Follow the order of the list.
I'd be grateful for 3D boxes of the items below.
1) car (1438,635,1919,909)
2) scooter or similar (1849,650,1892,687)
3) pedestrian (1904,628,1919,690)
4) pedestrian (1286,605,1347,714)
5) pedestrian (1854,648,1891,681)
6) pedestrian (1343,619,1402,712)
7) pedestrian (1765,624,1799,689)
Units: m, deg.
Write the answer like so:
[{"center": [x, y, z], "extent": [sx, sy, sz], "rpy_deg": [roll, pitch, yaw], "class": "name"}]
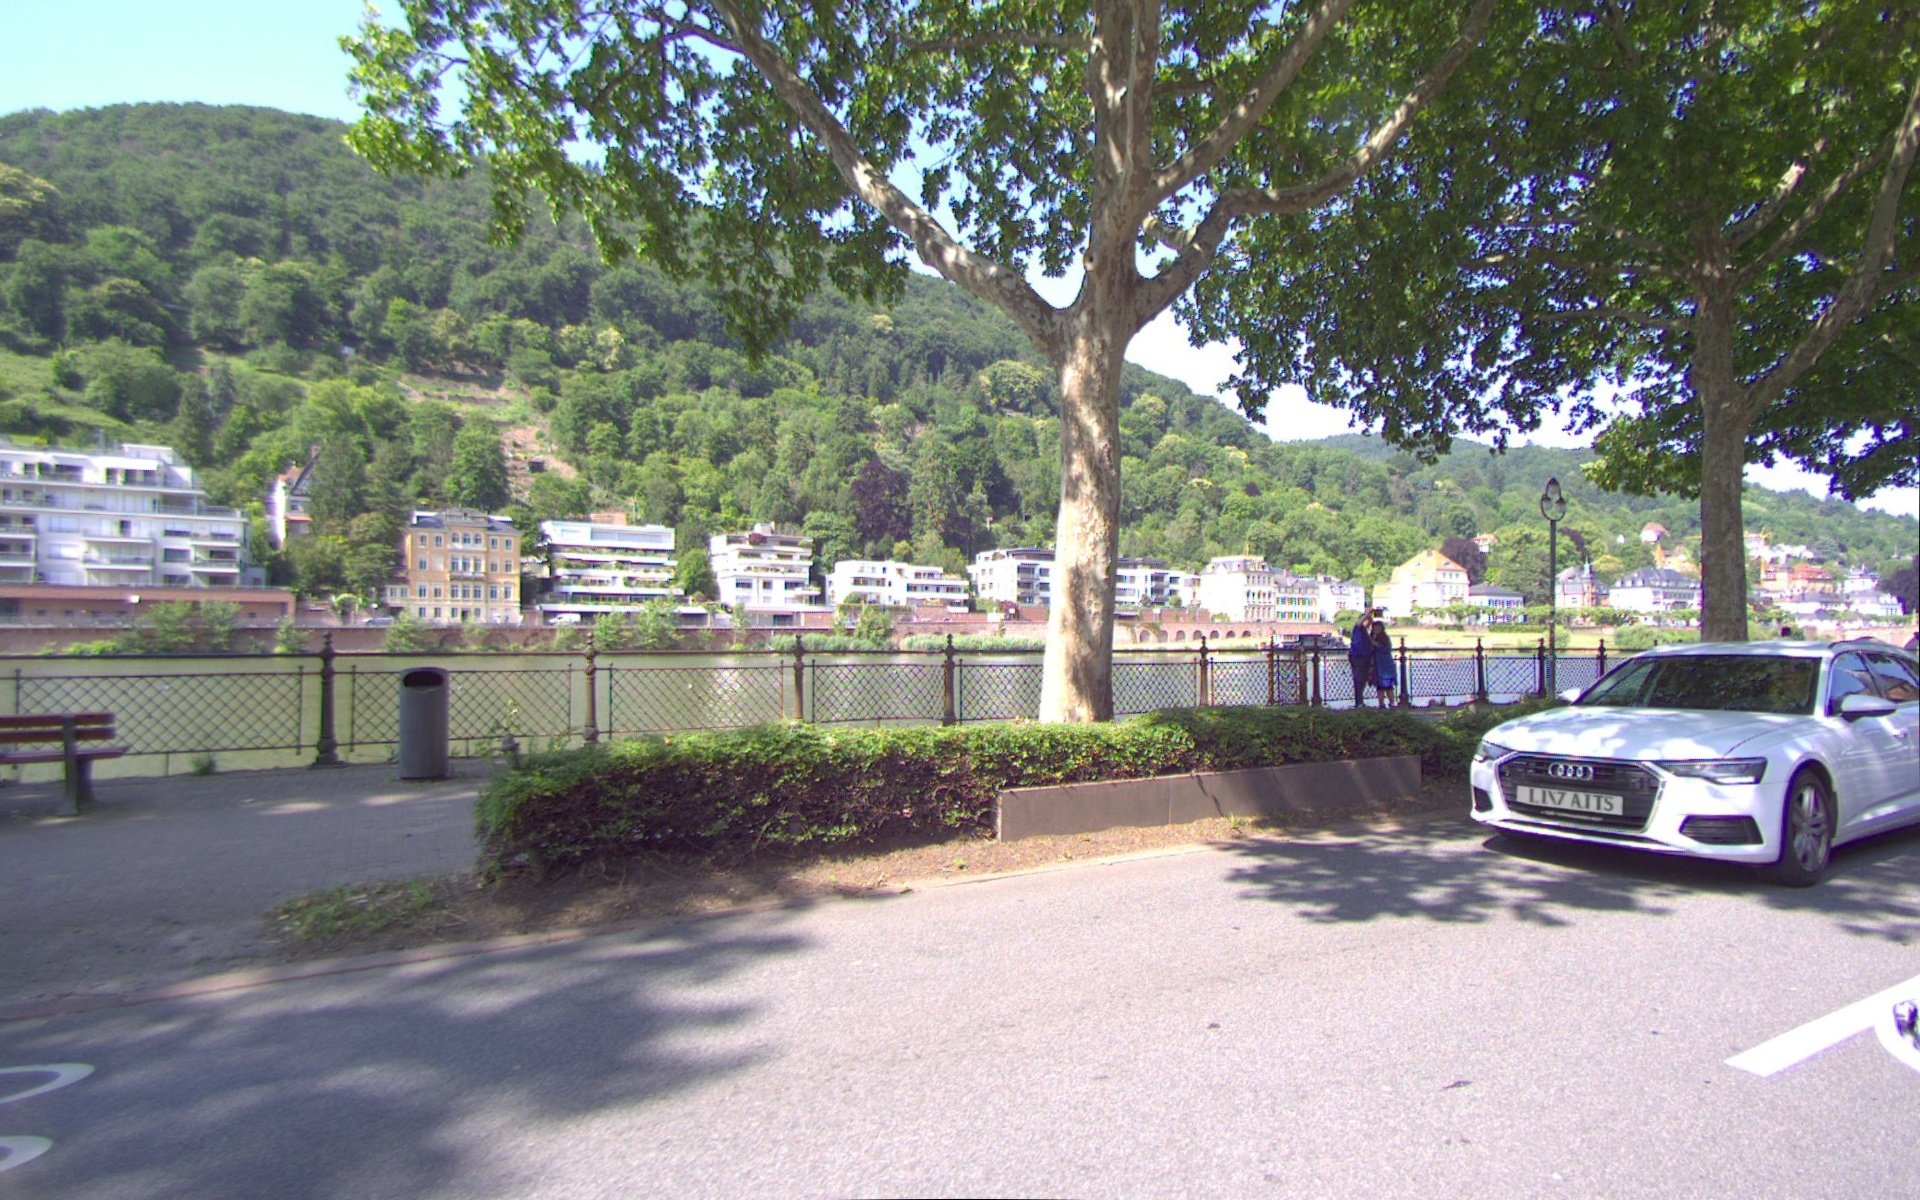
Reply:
[{"center": [5.692, 1.030, 7.389], "extent": [4.483, 1.476, 1.761], "rpy_deg": [2, -3, -31], "class": "car"}, {"center": [25.861, 1.939, 28.522], "extent": [1.000, 0.981, 0.628], "rpy_deg": [2, 0, -31], "class": "scooter or similar"}, {"center": [26.061, 1.603, 27.160], "extent": [0.453, 1.640, 0.640], "rpy_deg": [2, 0, -31], "class": "pedestrian"}, {"center": [6.160, 1.015, 17.383], "extent": [0.696, 1.820, 0.701], "rpy_deg": [2, -1, -28], "class": "pedestrian"}, {"center": [25.992, 1.828, 28.601], "extent": [0.697, 0.895, 0.604], "rpy_deg": [1, -1, -30], "class": "pedestrian"}, {"center": [7.399, 1.158, 18.032], "extent": [0.696, 1.624, 0.701], "rpy_deg": [2, -1, -28], "class": "pedestrian"}, {"center": [22.329, 1.525, 27.280], "extent": [0.399, 1.733, 0.581], "rpy_deg": [2, 1, -31], "class": "pedestrian"}]
